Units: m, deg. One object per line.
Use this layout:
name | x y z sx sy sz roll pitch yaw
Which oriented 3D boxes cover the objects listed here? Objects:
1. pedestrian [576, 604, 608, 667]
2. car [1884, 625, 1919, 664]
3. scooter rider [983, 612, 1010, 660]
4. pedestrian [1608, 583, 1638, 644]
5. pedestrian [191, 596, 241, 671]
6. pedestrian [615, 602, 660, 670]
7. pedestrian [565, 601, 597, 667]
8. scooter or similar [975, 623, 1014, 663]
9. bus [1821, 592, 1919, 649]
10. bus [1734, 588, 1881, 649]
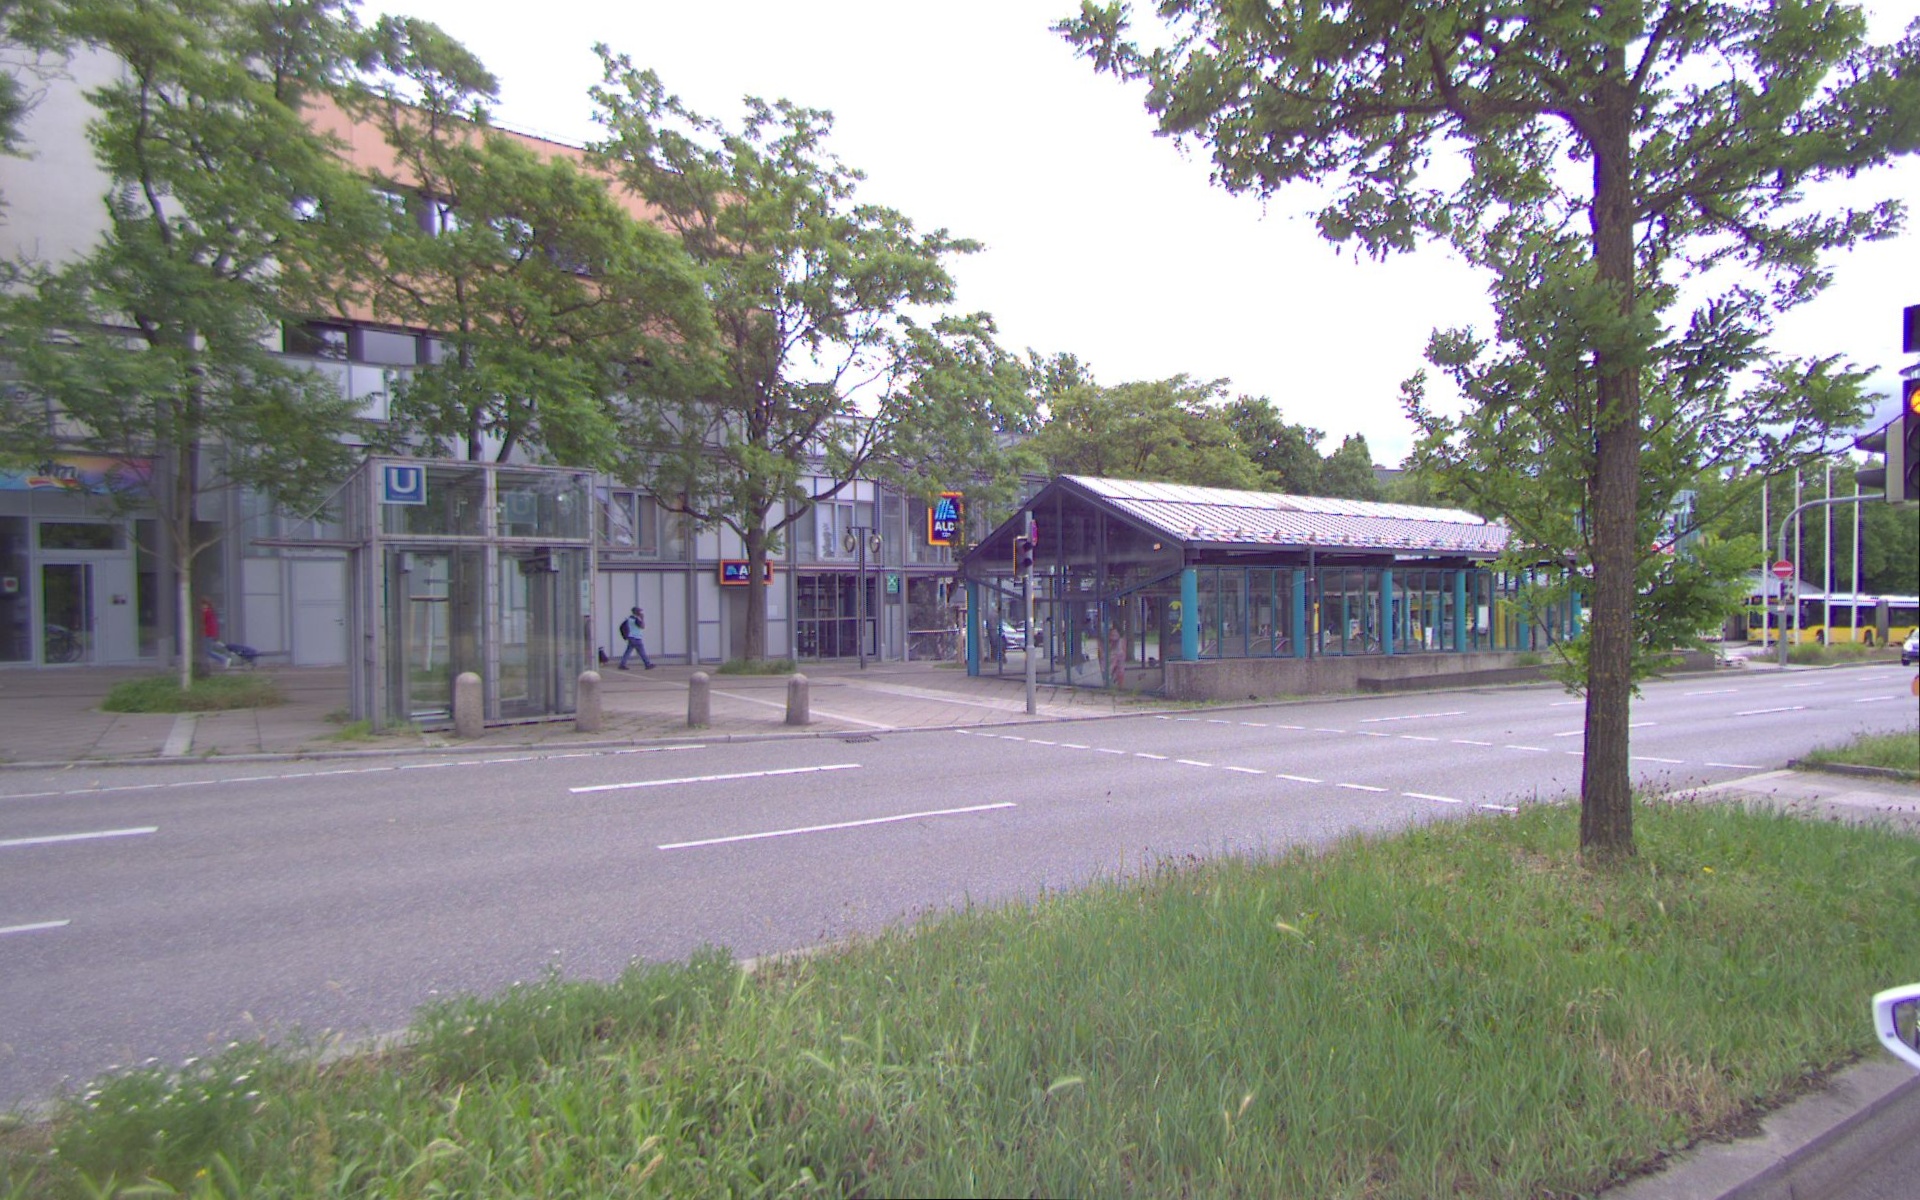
pedestrian | -9.664 0.926 26.370 0.674 1.610 0.513 0 -1 -39
car | 38.514 1.742 39.664 3.955 1.506 1.983 1 -1 -32
scooter rider | 1.218 1.193 33.335 0.700 1.566 0.521 1 2 -38
pedestrian | 22.444 0.452 34.018 0.639 2.040 0.677 1 -1 -34
pedestrian | -16.164 0.723 21.819 0.819 1.607 0.629 1 -1 -40
pedestrian | -8.440 0.926 26.260 0.879 1.739 0.764 0 2 -39
pedestrian | -10.107 0.898 26.790 0.674 1.750 0.560 0 -1 -39
scooter or similar | 1.140 1.409 33.286 1.276 1.284 0.476 1 2 -38
bus | 59.969 1.336 64.783 10.592 3.476 2.822 1 -1 -26
bus | 50.933 1.156 60.266 10.592 3.476 2.822 1 -1 -26
